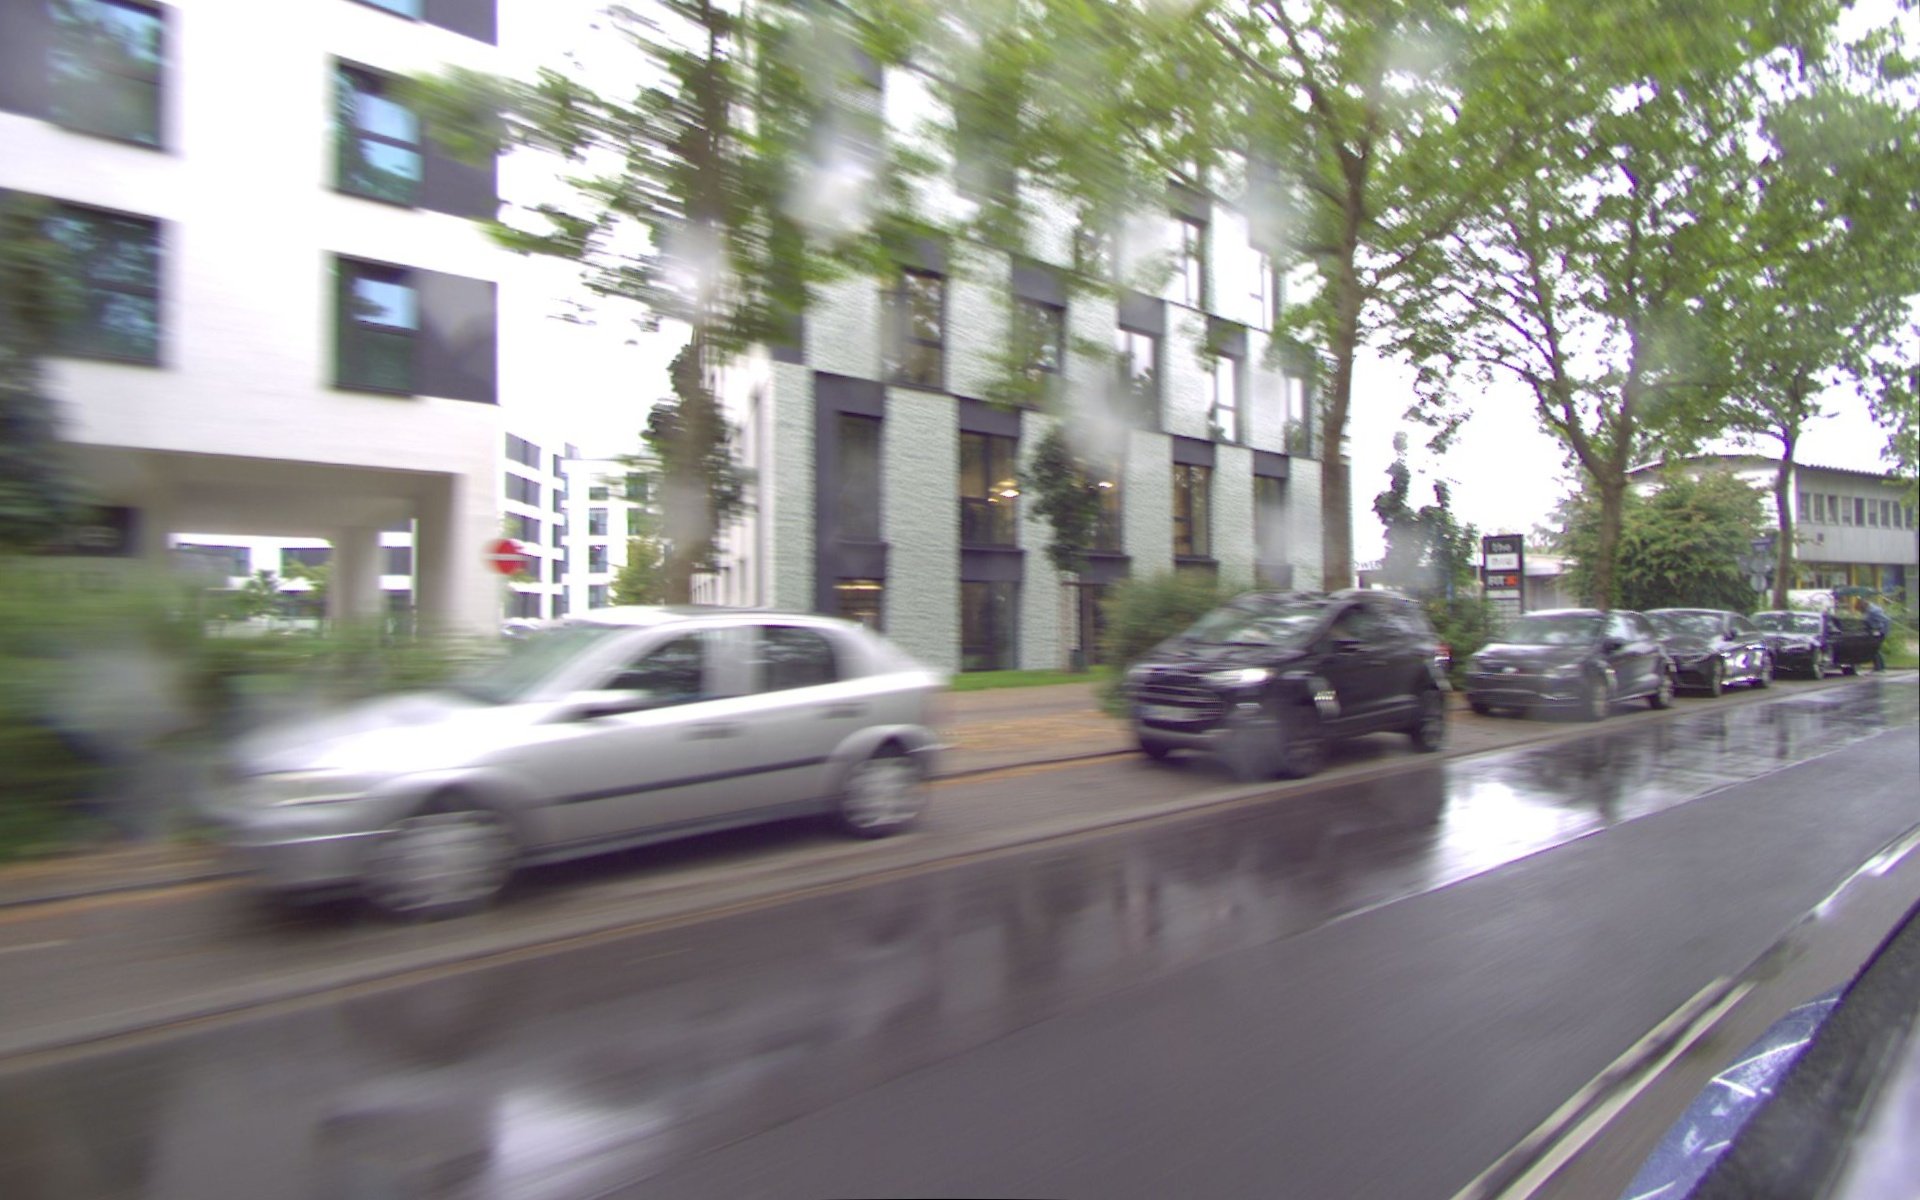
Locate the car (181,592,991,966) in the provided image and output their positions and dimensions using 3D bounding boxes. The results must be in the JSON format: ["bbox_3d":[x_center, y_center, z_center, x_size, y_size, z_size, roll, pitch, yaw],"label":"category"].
[{"bbox_3d":[-1.974,0.723,6.072,4.229,1.488,1.746,0,-1,-40],"label":"car"}]

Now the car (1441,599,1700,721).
[{"bbox_3d":[8.719,0.748,14.362,4.006,1.495,1.748,0,-1,-37],"label":"car"}]

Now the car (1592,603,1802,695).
[{"bbox_3d":[13.386,0.790,18.261,5.010,1.446,1.747,0,-1,-38],"label":"car"}]

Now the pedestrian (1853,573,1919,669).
[{"bbox_3d":[20.197,0.448,21.979,0.887,2.039,0.829,-1,-1,17],"label":"pedestrian"}]

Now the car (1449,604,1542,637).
[{"bbox_3d":[29.643,1.127,56.099,4.094,1.549,1.895,-4,0,-6],"label":"car"}]

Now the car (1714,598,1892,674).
[{"bbox_3d":[18.508,0.711,22.159,4.766,1.446,1.749,0,1,-34],"label":"car"}]

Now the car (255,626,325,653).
[{"bbox_3d":[-42.753,2.484,64.673,1.844,1.564,3.857,0,0,3],"label":"car"}]

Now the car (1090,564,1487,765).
[{"bbox_3d":[3.407,0.522,10.089,4.293,1.586,1.746,0,-1,-40],"label":"car"}]
